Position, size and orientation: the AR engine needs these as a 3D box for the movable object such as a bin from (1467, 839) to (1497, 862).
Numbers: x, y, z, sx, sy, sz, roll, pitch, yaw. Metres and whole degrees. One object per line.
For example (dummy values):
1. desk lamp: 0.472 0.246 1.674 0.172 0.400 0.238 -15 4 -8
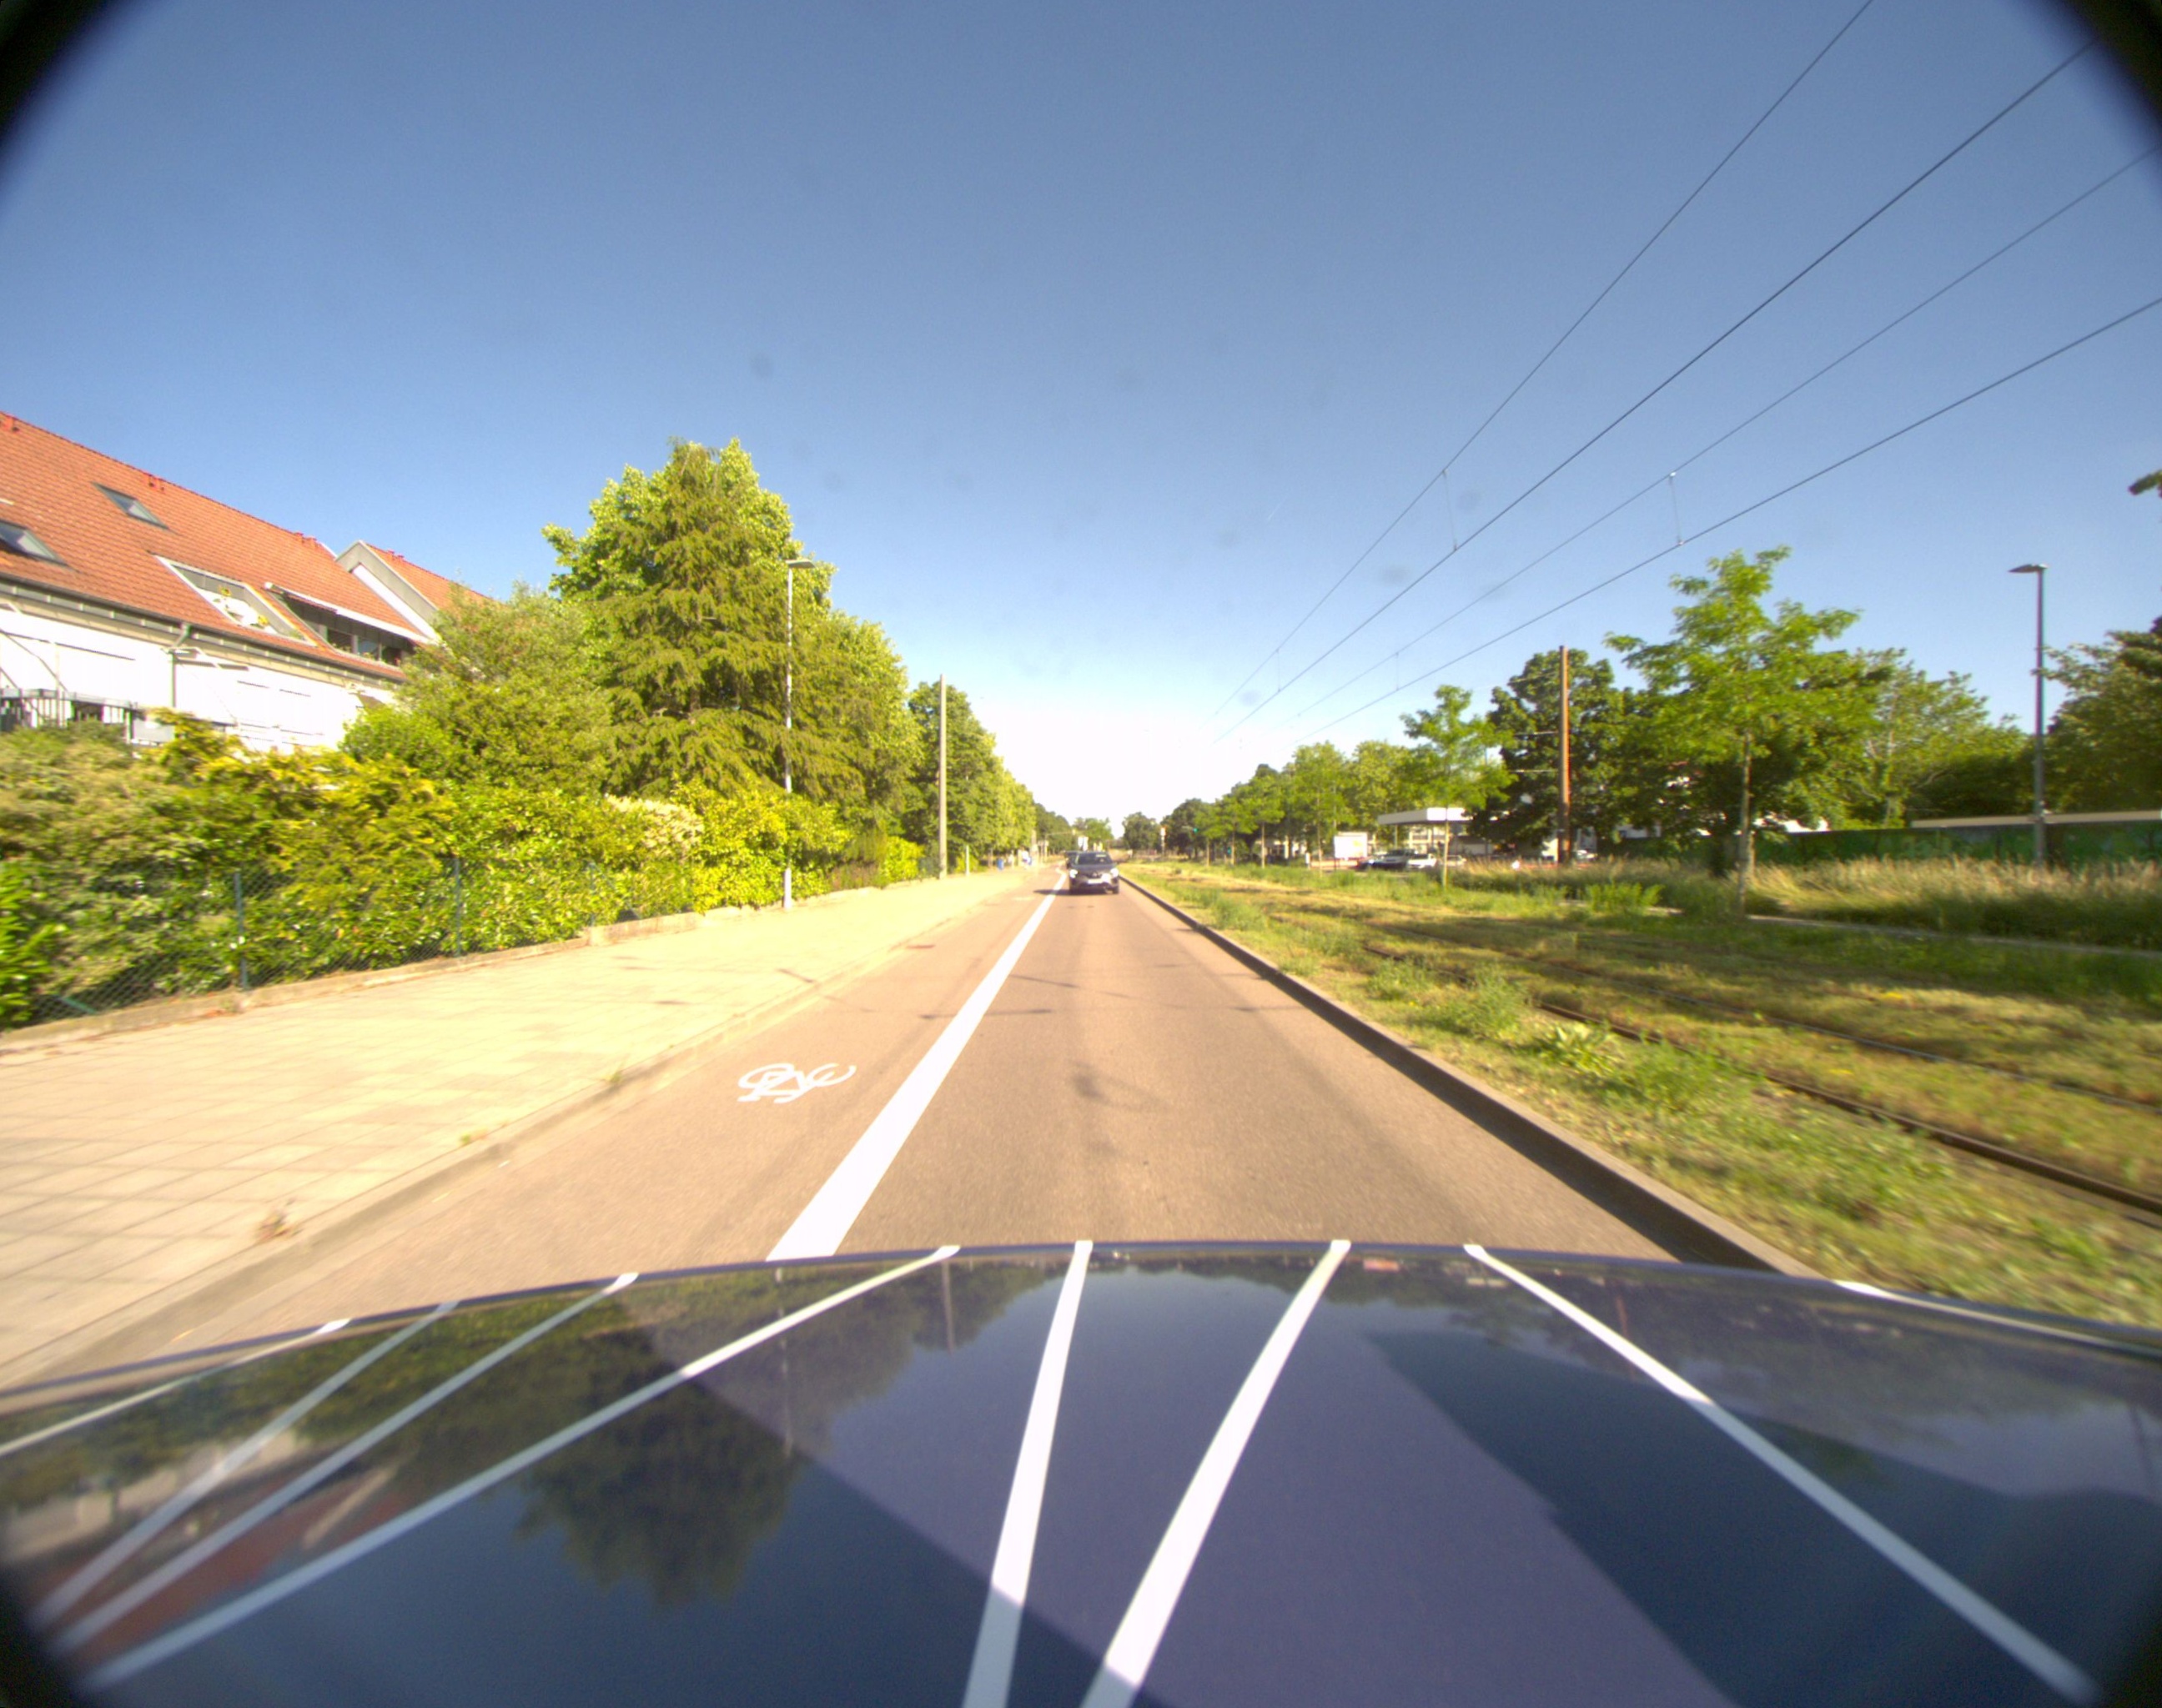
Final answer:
1. movable object such as a bin: 24.711 -0.236 46.855 1.227 1.361 1.121 -1 1 -3

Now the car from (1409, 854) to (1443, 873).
1. car: 28.525 0.787 62.775 1.712 1.416 4.466 -1 1 36

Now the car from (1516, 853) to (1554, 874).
1. car: 34.899 0.681 58.383 2.021 1.541 4.310 1 1 38

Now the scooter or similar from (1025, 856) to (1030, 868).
1. scooter or similar: -5.248 0.758 74.443 0.349 1.130 1.208 0 0 -1

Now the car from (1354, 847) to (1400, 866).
1. car: 31.254 0.265 80.315 3.996 1.846 2.000 -2 0 3

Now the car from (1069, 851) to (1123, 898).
1. car: 0.507 0.714 28.742 1.867 1.614 3.999 -1 0 -1

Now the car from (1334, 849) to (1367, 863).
1. car: 39.382 0.300 111.101 4.051 1.816 1.999 -2 1 -3

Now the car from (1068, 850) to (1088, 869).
1. car: -0.269 0.579 81.454 1.998 1.824 4.000 -2 1 1

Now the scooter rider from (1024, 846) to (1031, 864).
1. scooter rider: -5.257 0.117 74.668 0.552 1.756 0.599 -1 1 -1

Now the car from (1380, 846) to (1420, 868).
1. car: 28.250 0.271 67.159 1.893 1.899 4.821 -1 -1 40

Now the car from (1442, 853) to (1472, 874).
1. car: 30.270 0.718 61.047 2.022 1.499 4.898 1 2 28

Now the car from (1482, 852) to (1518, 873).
1. car: 32.607 0.624 59.062 1.845 1.499 3.999 1 2 38
